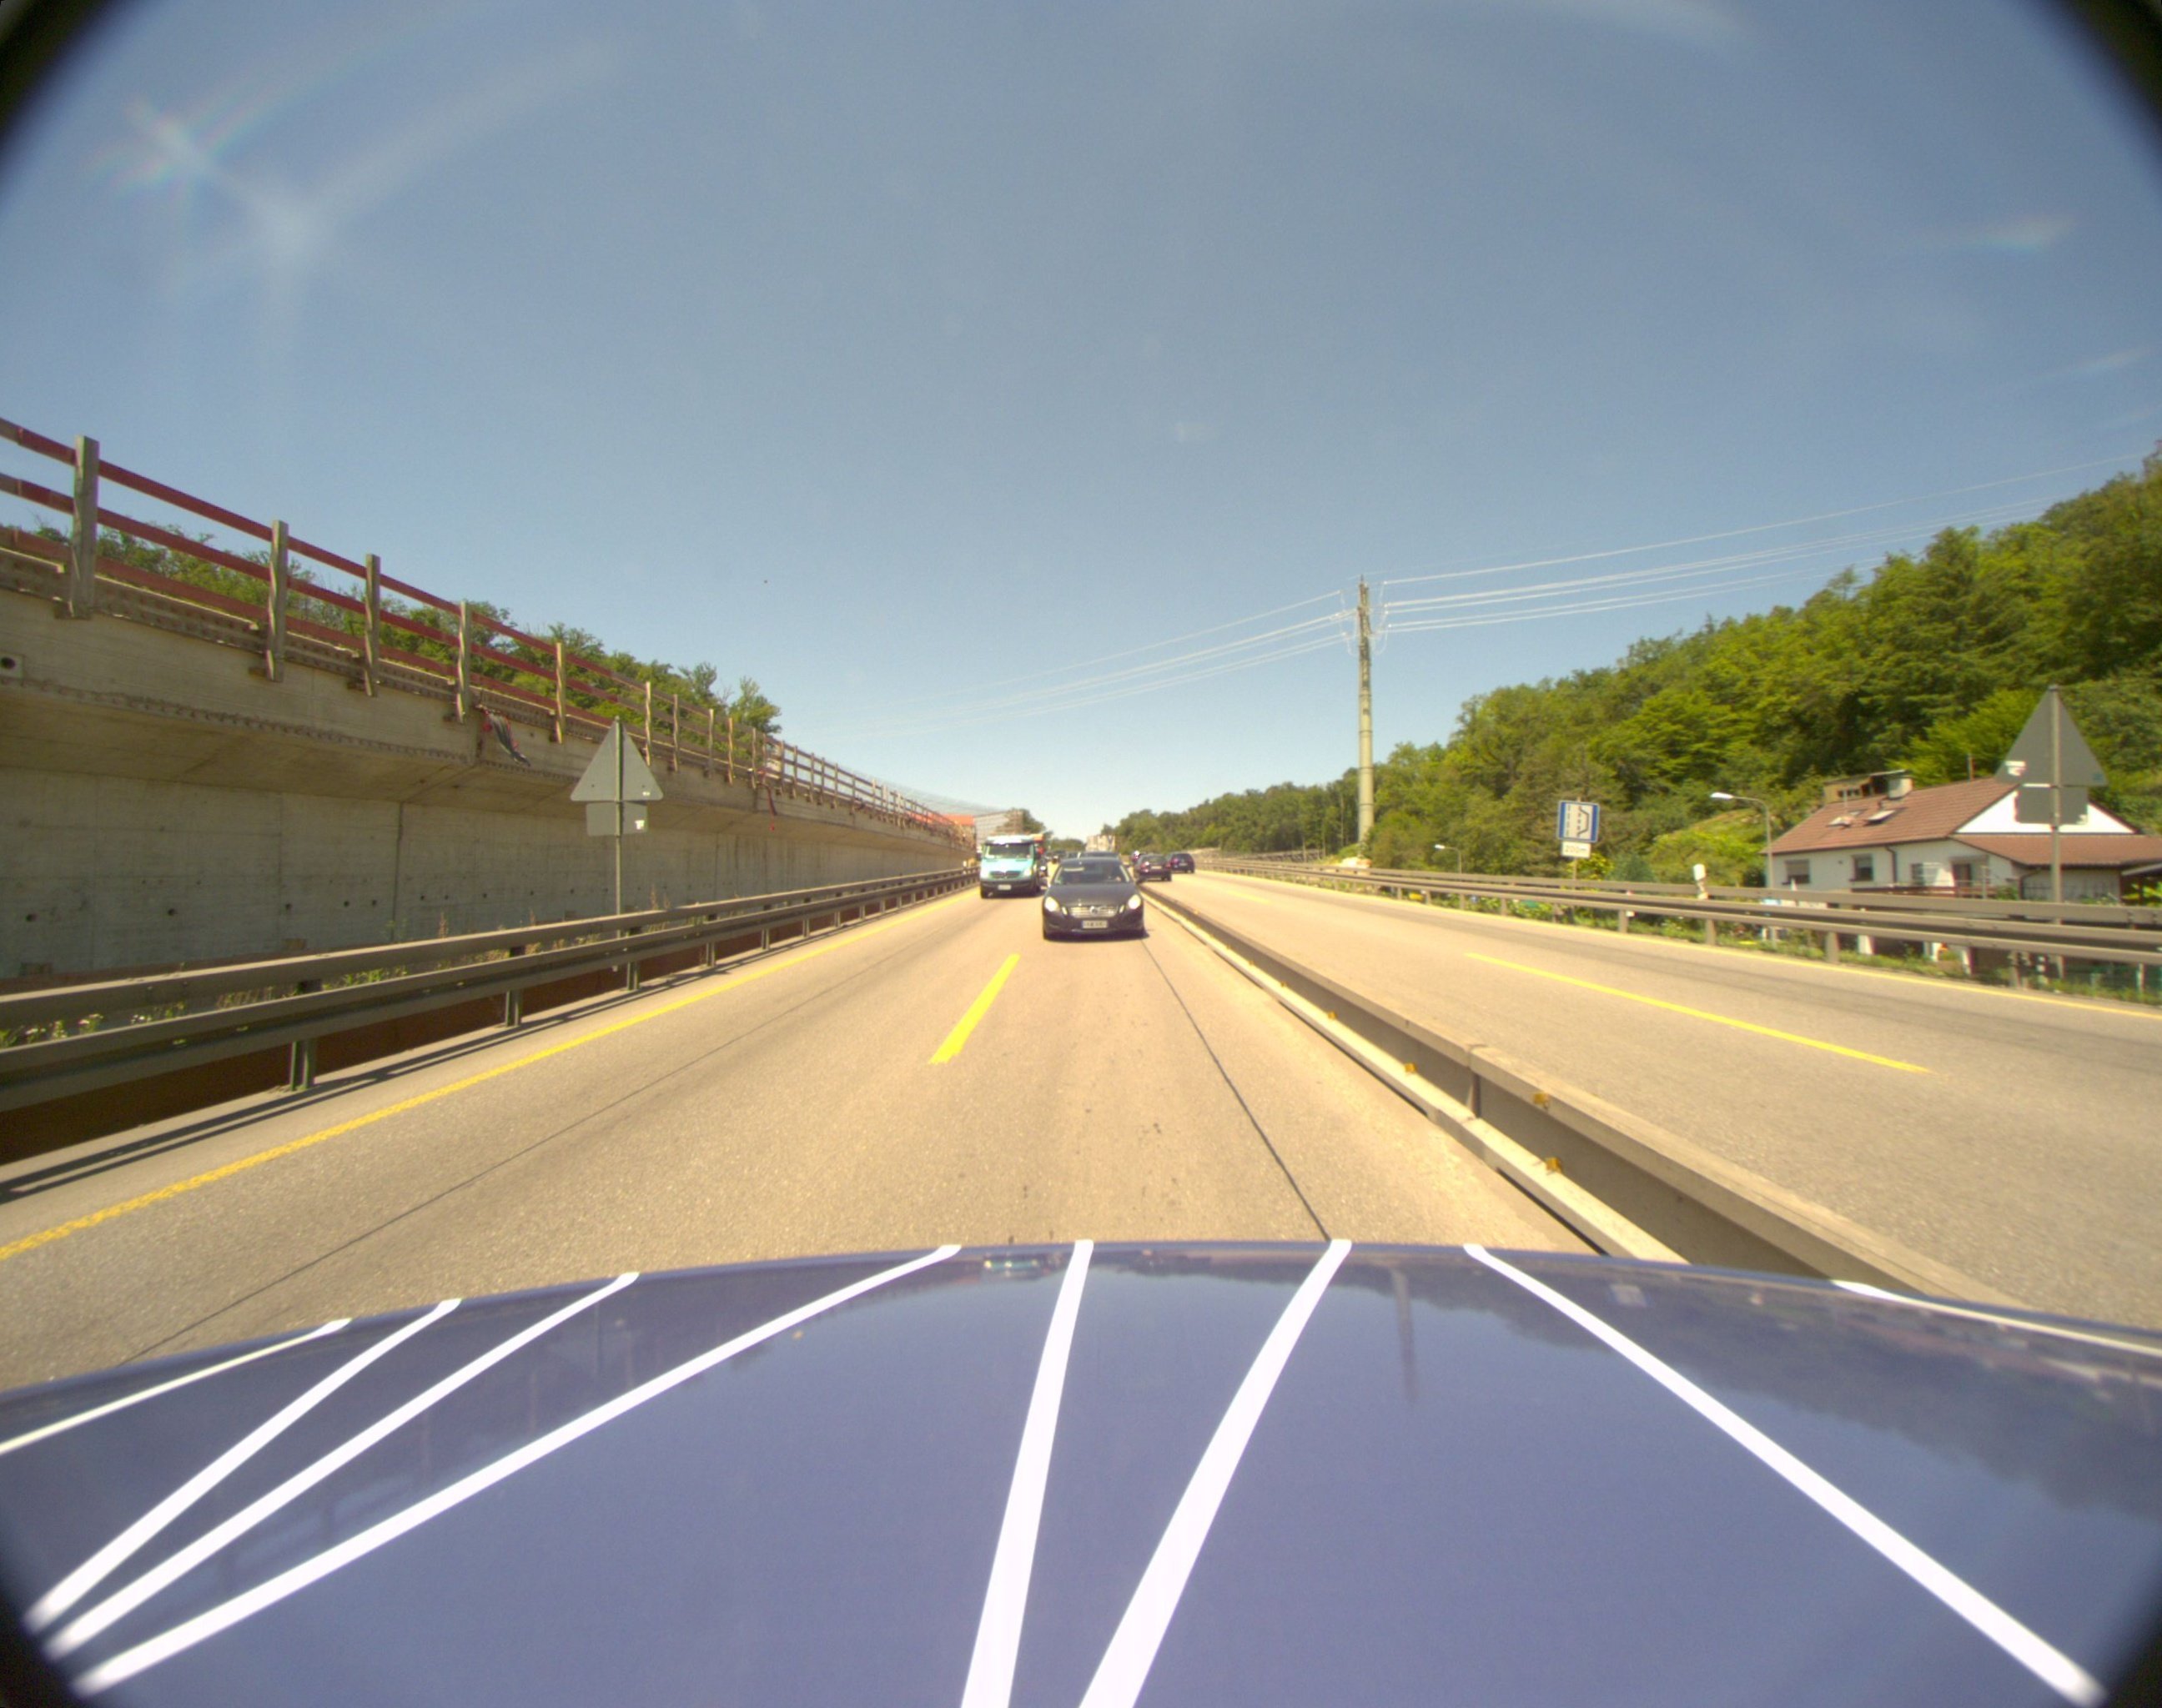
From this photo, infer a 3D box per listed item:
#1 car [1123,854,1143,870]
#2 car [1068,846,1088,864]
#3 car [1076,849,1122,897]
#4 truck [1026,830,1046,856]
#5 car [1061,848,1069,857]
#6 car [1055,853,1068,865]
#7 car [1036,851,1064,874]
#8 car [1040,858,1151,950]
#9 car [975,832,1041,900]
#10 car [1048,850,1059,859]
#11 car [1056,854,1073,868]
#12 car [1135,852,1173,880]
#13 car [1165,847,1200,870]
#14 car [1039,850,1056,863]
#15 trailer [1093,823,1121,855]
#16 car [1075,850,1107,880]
[{"bbox_3d":[5.168,0.807,75.697,1.737,1.480,4.001,-1,-1,1],"label":"car"},{"bbox_3d":[-0.226,0.044,63.402,1.647,1.366,3.344,-2,1,0],"label":"car"},{"bbox_3d":[0.609,0.624,27.367,1.520,1.543,3.860,-1,1,0],"label":"car"},{"bbox_3d":[-6.492,-1.599,107.690,2.472,3.464,9.862,-2,1,-5],"label":"truck"},{"bbox_3d":[-3.846,-0.444,181.814,1.999,1.999,4.856,-1,1,-2],"label":"car"},{"bbox_3d":[-2.486,0.592,97.644,1.586,1.366,3.344,-2,1,0],"label":"car"},{"bbox_3d":[-2.052,0.561,51.340,1.739,1.401,3.584,-2,1,0],"label":"car"},{"bbox_3d":[0.125,0.841,14.977,1.844,1.475,4.561,-1,0,-3],"label":"car"},{"bbox_3d":[-2.687,0.369,29.579,2.218,2.312,6.898,-1,1,-3],"label":"car"},{"bbox_3d":[-4.460,0.059,122.686,1.586,1.366,3.344,-2,1,0],"label":"car"},{"bbox_3d":[-1.726,0.705,79.814,1.647,1.366,3.343,-2,1,-3],"label":"car"},{"bbox_3d":[3.795,0.600,40.001,1.722,1.400,4.000,0,0,1],"label":"car"},{"bbox_3d":[6.891,0.268,52.090,1.846,1.410,4.686,0,1,1],"label":"car"},{"bbox_3d":[-3.849,0.249,87.624,1.647,1.366,3.344,-2,1,0],"label":"car"},{"bbox_3d":[3.812,-2.247,114.886,3.260,4.353,14.053,-2,1,-2],"label":"trailer"},{"bbox_3d":[0.530,0.586,43.559,1.736,1.558,3.619,-2,1,0],"label":"car"}]
